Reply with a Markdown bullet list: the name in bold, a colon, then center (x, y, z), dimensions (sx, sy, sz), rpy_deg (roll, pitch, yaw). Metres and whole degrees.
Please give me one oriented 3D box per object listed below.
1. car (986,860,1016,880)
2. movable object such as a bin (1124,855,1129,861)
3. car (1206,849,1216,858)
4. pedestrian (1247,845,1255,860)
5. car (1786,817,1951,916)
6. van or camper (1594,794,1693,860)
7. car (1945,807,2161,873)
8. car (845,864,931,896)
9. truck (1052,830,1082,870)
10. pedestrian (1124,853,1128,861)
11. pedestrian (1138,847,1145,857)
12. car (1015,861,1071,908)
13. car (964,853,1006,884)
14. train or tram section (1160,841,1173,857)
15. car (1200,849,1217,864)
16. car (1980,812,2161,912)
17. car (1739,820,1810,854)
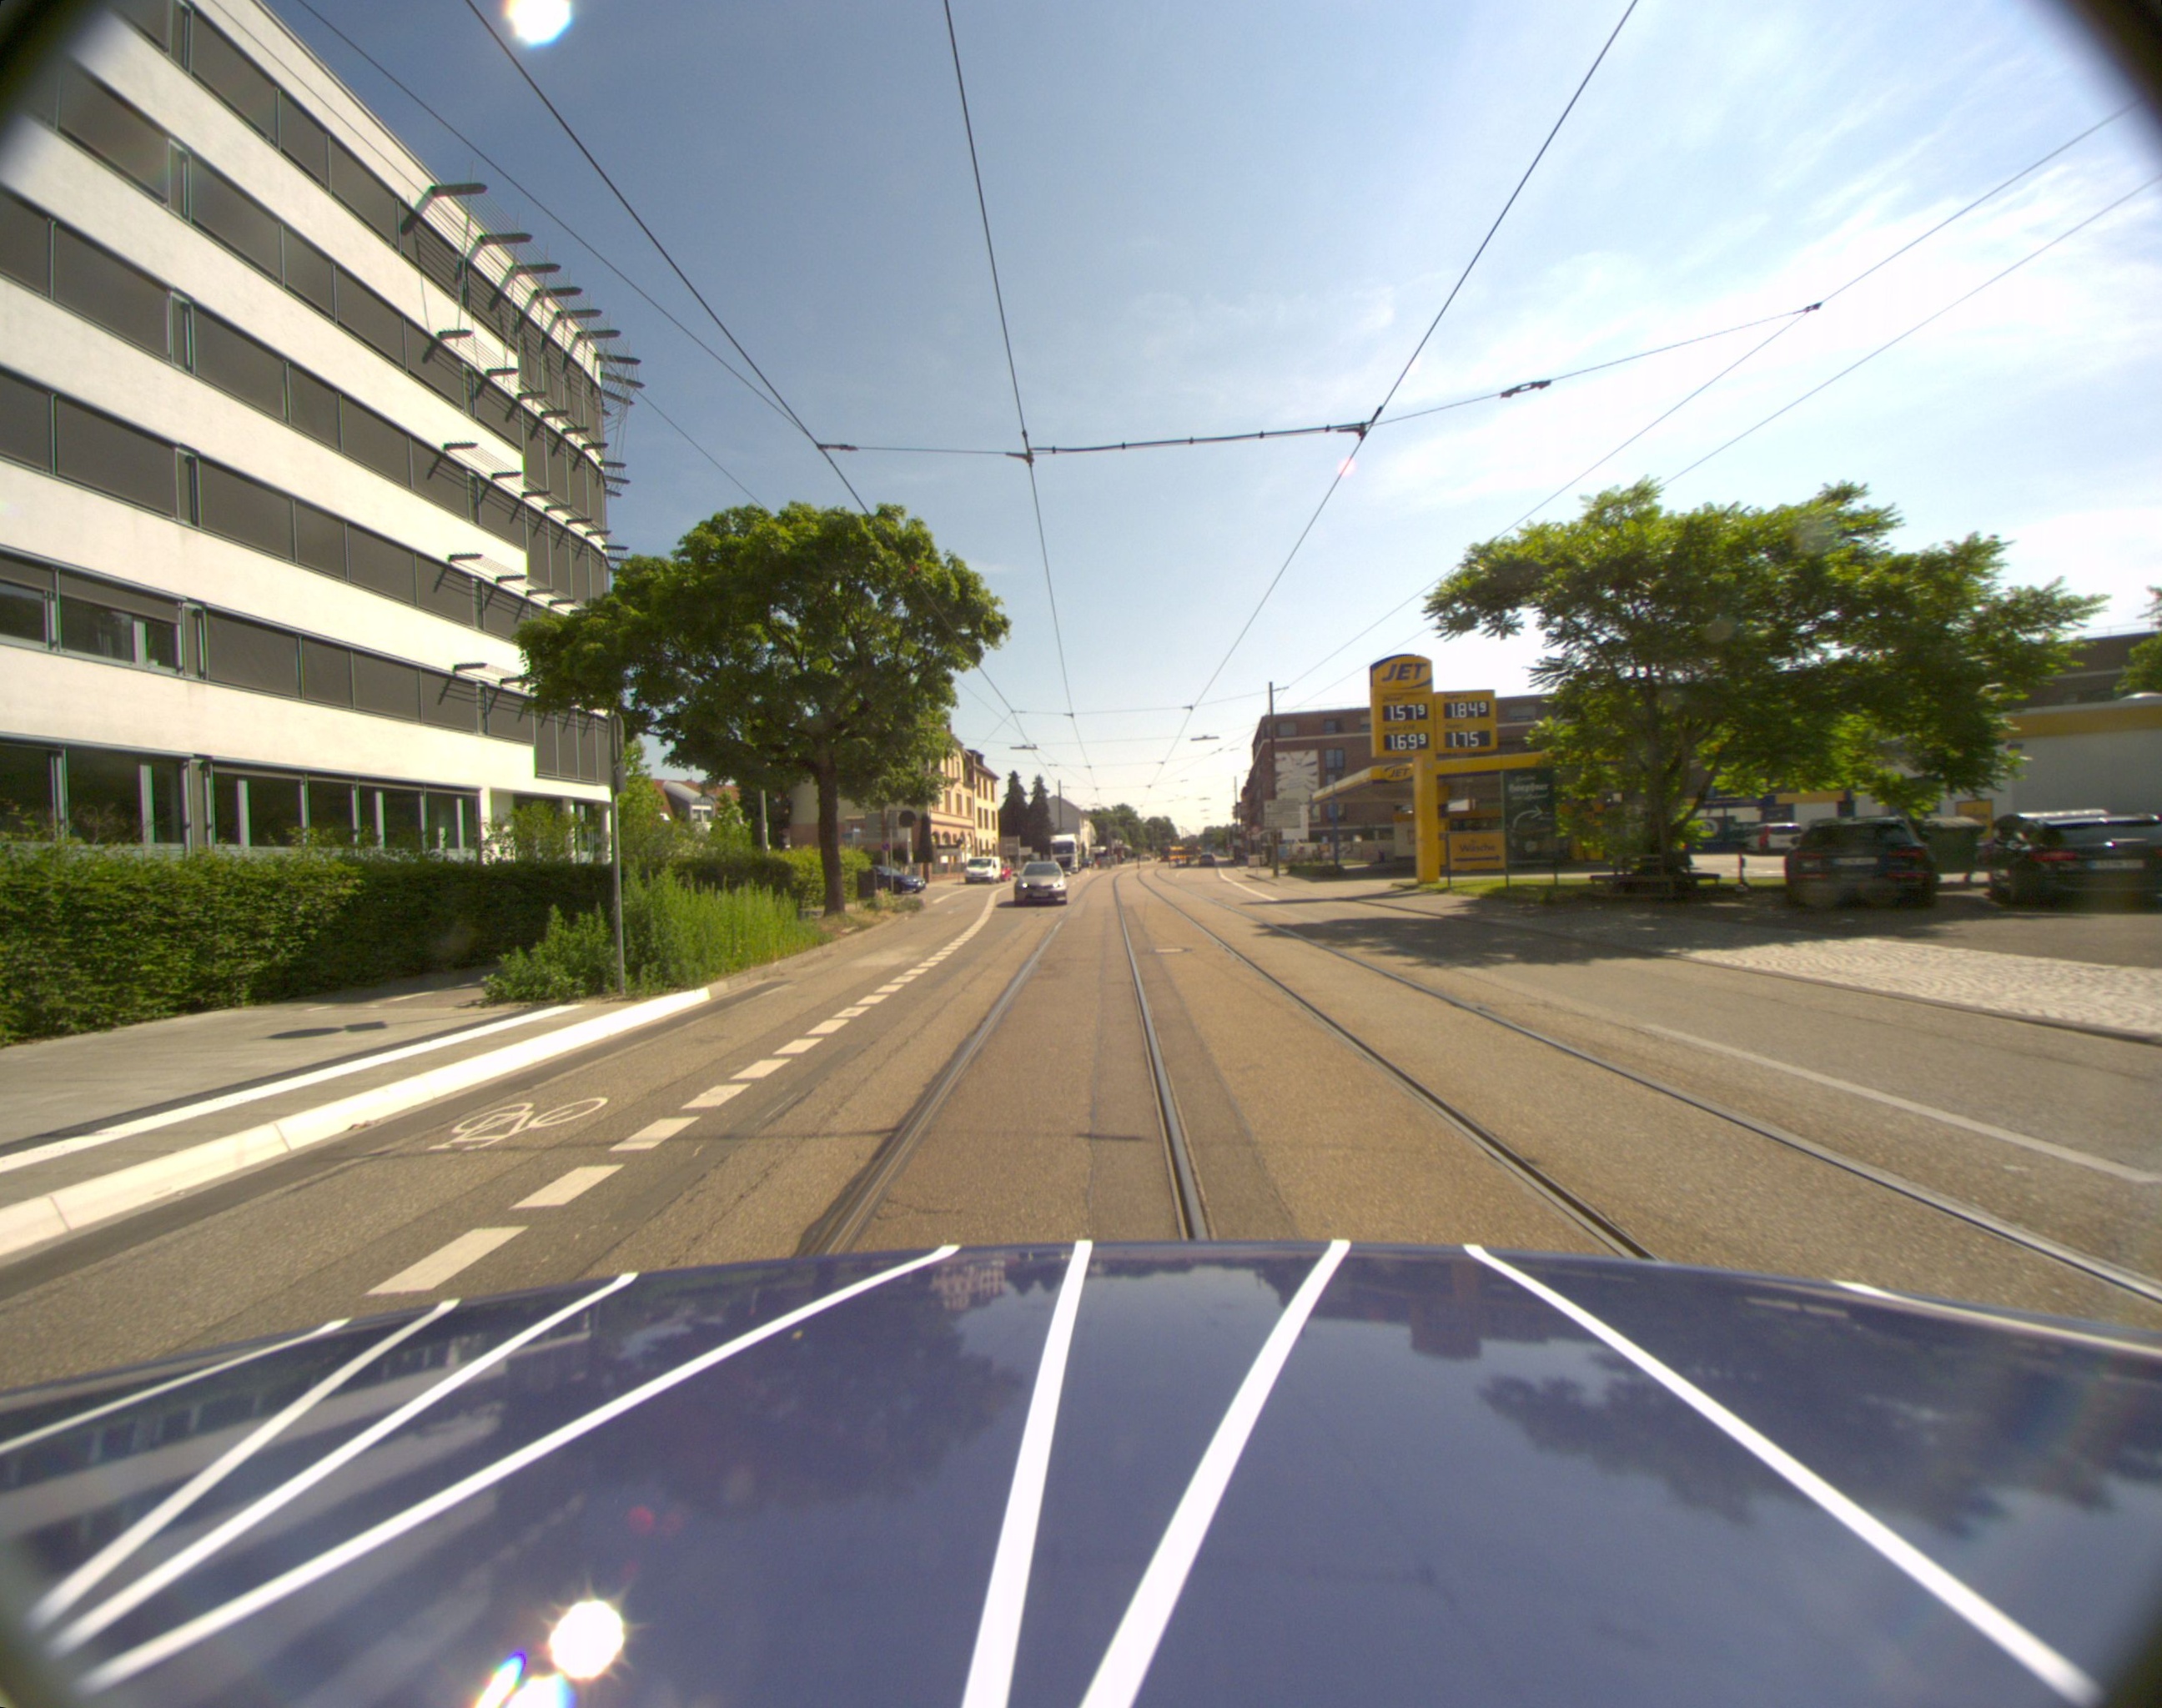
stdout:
- **car**: center (-6.261, 1.264, 60.029), dimensions (1.726, 1.435, 4.313), rpy_deg (0, 0, 3)
- **movable object such as a bin**: center (7.151, 0.647, 119.465), dimensions (0.630, 0.895, 0.489), rpy_deg (-2, 0, 9)
- **car**: center (24.476, -0.101, 142.743), dimensions (1.715, 1.613, 3.581), rpy_deg (-3, 0, 10)
- **pedestrian**: center (21.418, -0.210, 95.714), dimensions (0.846, 1.808, 0.839), rpy_deg (-2, 0, 10)
- **car**: center (15.142, 0.157, 14.642), dimensions (4.587, 1.615, 1.944), rpy_deg (-3, 0, -43)
- **van or camper**: center (29.180, -1.428, 39.725), dimensions (2.611, 2.950, 6.722), rpy_deg (-5, 0, 25)
- **car**: center (26.317, -0.367, 20.087), dimensions (4.161, 1.518, 1.940), rpy_deg (-2, 1, 28)
- **car**: center (-9.479, 1.254, 37.513), dimensions (3.754, 1.380, 1.671), rpy_deg (-2, 0, 3)
- **truck**: center (-1.336, -0.385, 77.830), dimensions (2.657, 3.772, 7.864), rpy_deg (-2, 0, 1)
- **pedestrian**: center (7.055, 0.484, 118.872), dimensions (0.630, 1.247, 0.710), rpy_deg (-1, 0, 9)
- **pedestrian**: center (10.847, -0.339, 136.399), dimensions (0.982, 1.847, 1.238), rpy_deg (-2, 0, 10)
- **car**: center (-1.253, 0.995, 26.488), dimensions (1.695, 1.440, 4.480), rpy_deg (0, 0, 0)
- **car**: center (-6.681, 0.973, 53.474), dimensions (1.981, 2.043, 5.192), rpy_deg (0, 1, 4)
- **train or tram section**: center (19.378, -1.125, 171.258), dimensions (2.685, 3.460, 13.344), rpy_deg (-2, 0, 6)
- **car**: center (14.810, 0.263, 88.343), dimensions (1.749, 1.562, 3.893), rpy_deg (-1, 1, 8)
- **car**: center (17.260, 0.060, 13.135), dimensions (4.587, 1.459, 1.944), rpy_deg (-3, 0, -43)
- **car**: center (40.434, -1.051, 44.429), dimensions (1.775, 1.752, 4.480), rpy_deg (-4, 1, 26)
